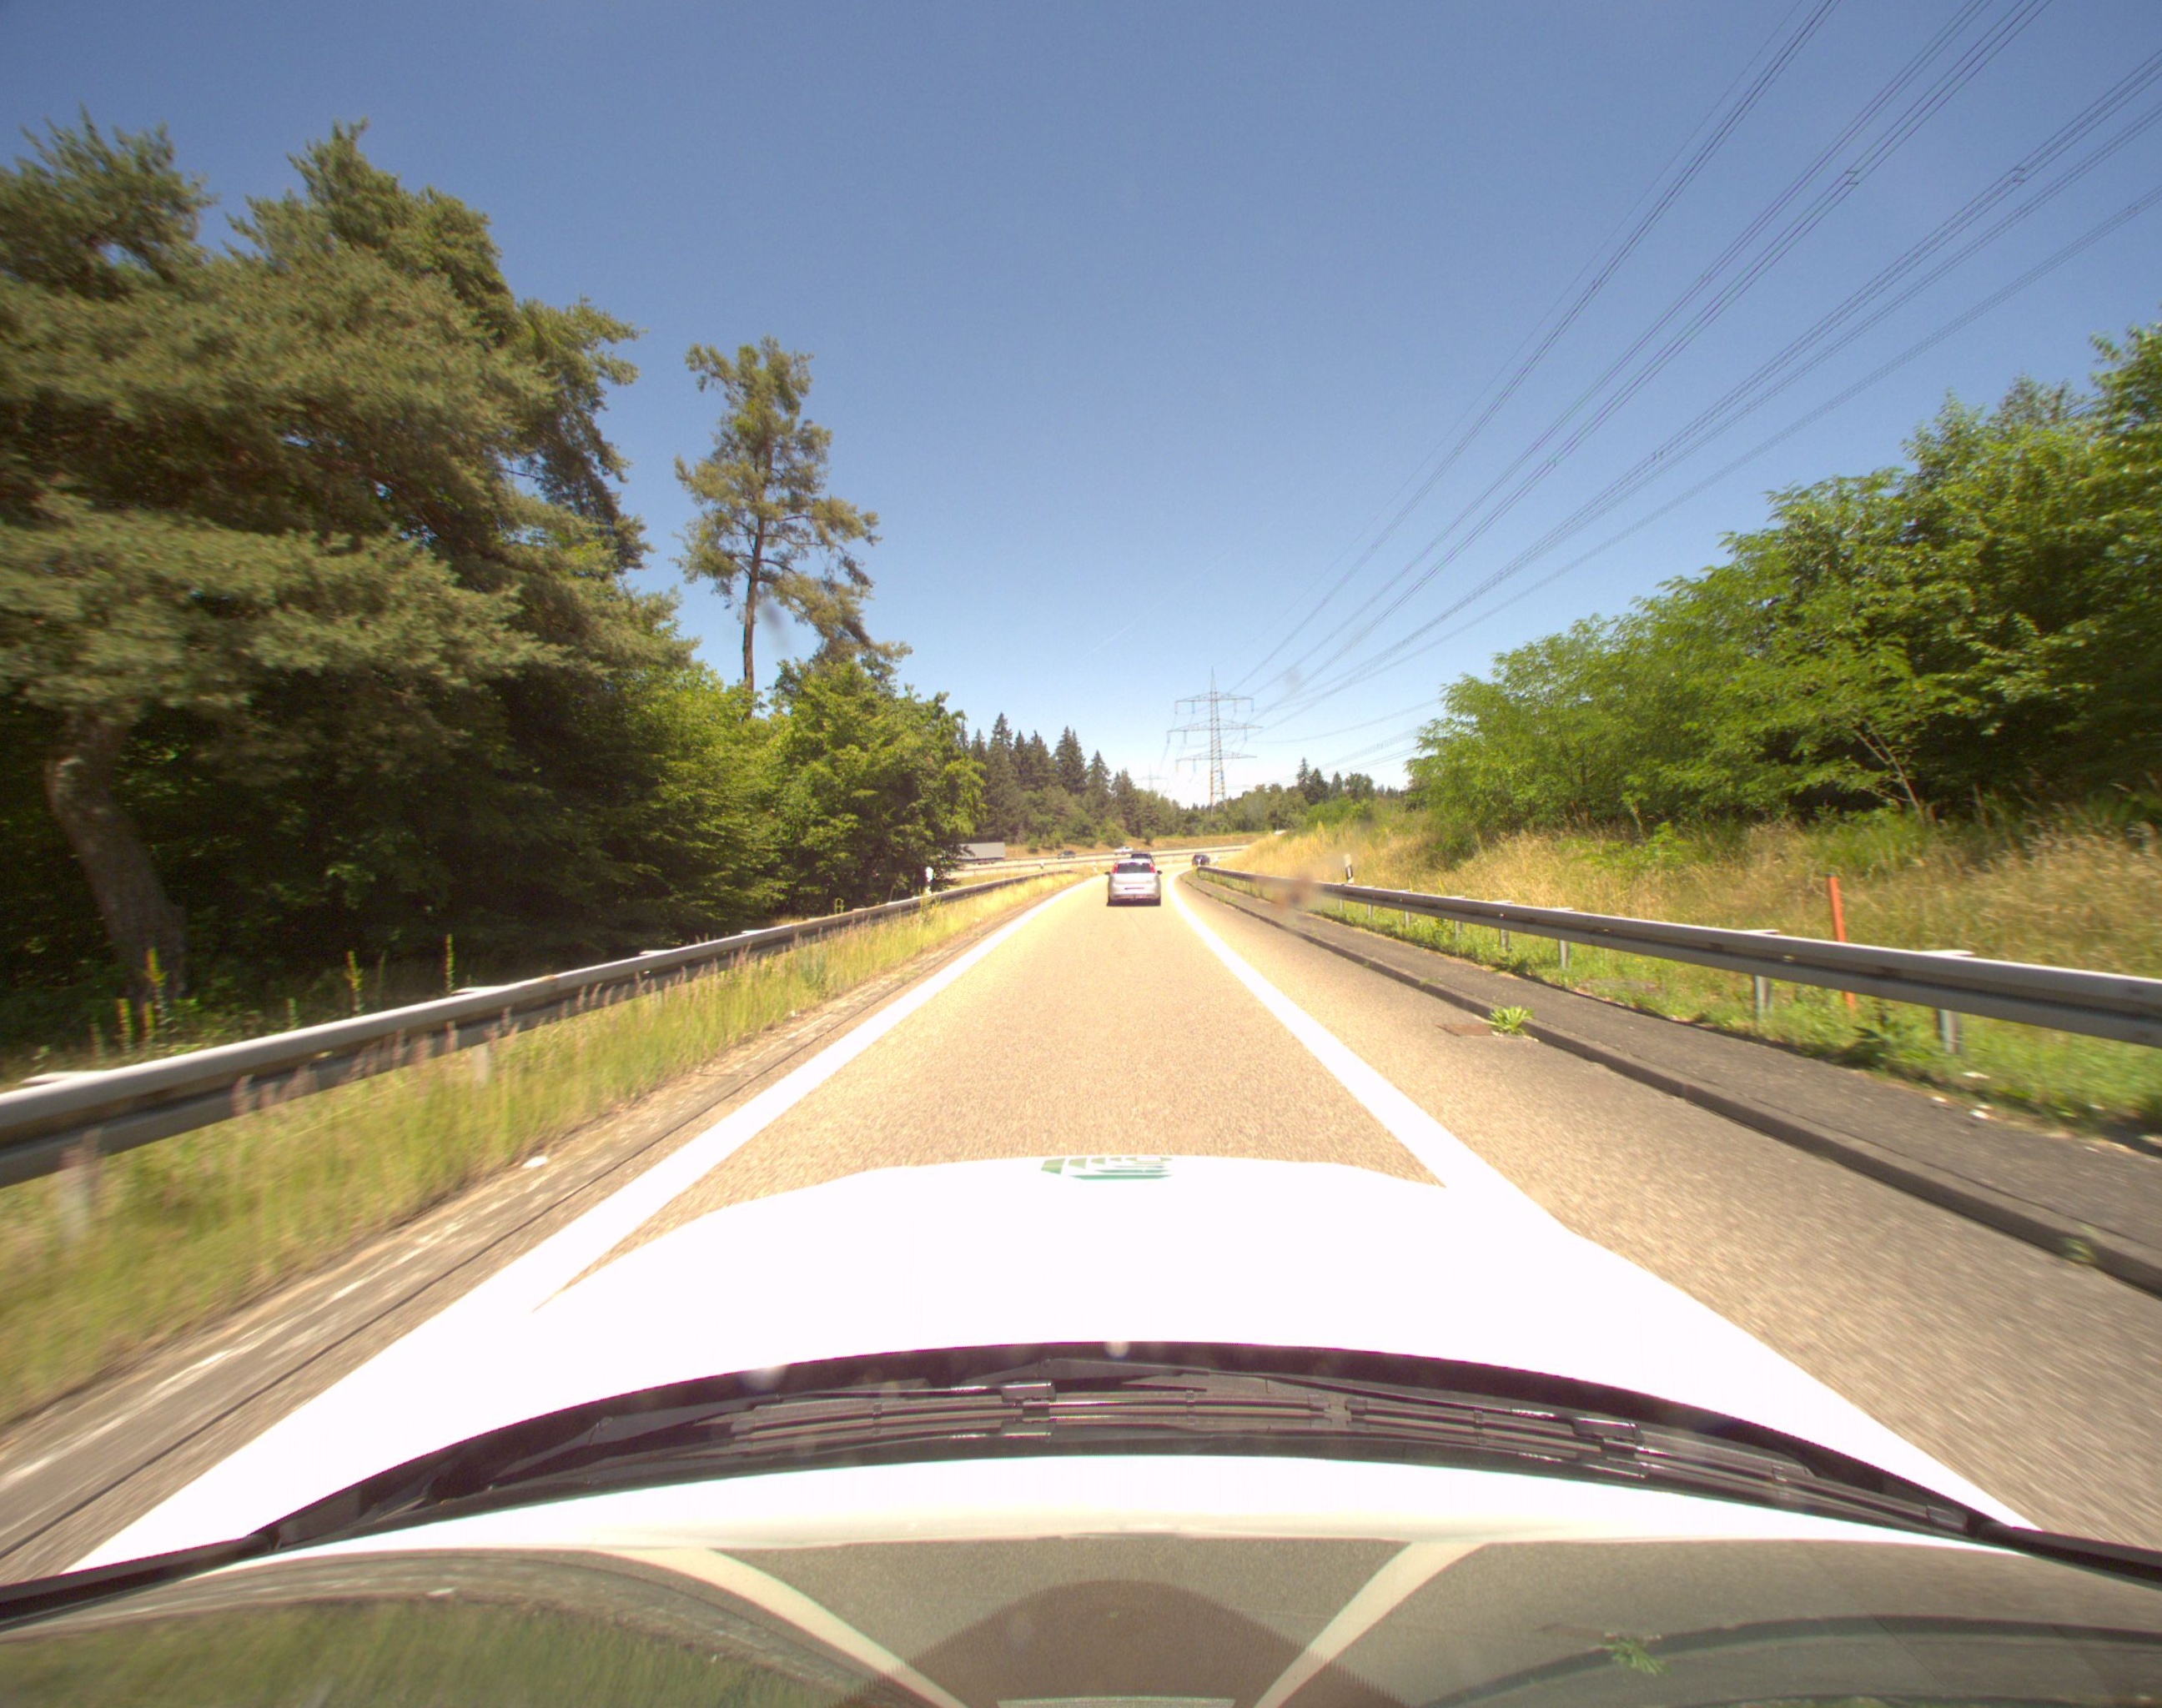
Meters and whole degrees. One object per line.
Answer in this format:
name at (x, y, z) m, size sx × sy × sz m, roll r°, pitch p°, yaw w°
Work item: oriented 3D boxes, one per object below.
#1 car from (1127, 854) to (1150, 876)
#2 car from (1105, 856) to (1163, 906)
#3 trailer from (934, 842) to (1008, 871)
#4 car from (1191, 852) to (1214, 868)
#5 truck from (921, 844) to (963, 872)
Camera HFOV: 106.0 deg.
car at (4.629, 0.847, 64.987) m, size 1.697 × 1.676 × 3.404 m, roll -1°, pitch 0°, yaw 6°
car at (1.657, 0.860, 26.298) m, size 1.700 × 1.482 × 3.398 m, roll -1°, pitch -1°, yaw 1°
trailer at (-19.191, 0.422, 143.619) m, size 2.896 × 4.387 × 14.387 m, roll -4°, pitch 0°, yaw 42°
car at (14.939, 0.723, 100.193) m, size 1.866 × 1.684 × 4.021 m, roll -4°, pitch 0°, yaw 21°
truck at (-23.656, 0.678, 138.601) m, size 2.911 × 4.392 × 6.310 m, roll -4°, pitch 0°, yaw 42°
